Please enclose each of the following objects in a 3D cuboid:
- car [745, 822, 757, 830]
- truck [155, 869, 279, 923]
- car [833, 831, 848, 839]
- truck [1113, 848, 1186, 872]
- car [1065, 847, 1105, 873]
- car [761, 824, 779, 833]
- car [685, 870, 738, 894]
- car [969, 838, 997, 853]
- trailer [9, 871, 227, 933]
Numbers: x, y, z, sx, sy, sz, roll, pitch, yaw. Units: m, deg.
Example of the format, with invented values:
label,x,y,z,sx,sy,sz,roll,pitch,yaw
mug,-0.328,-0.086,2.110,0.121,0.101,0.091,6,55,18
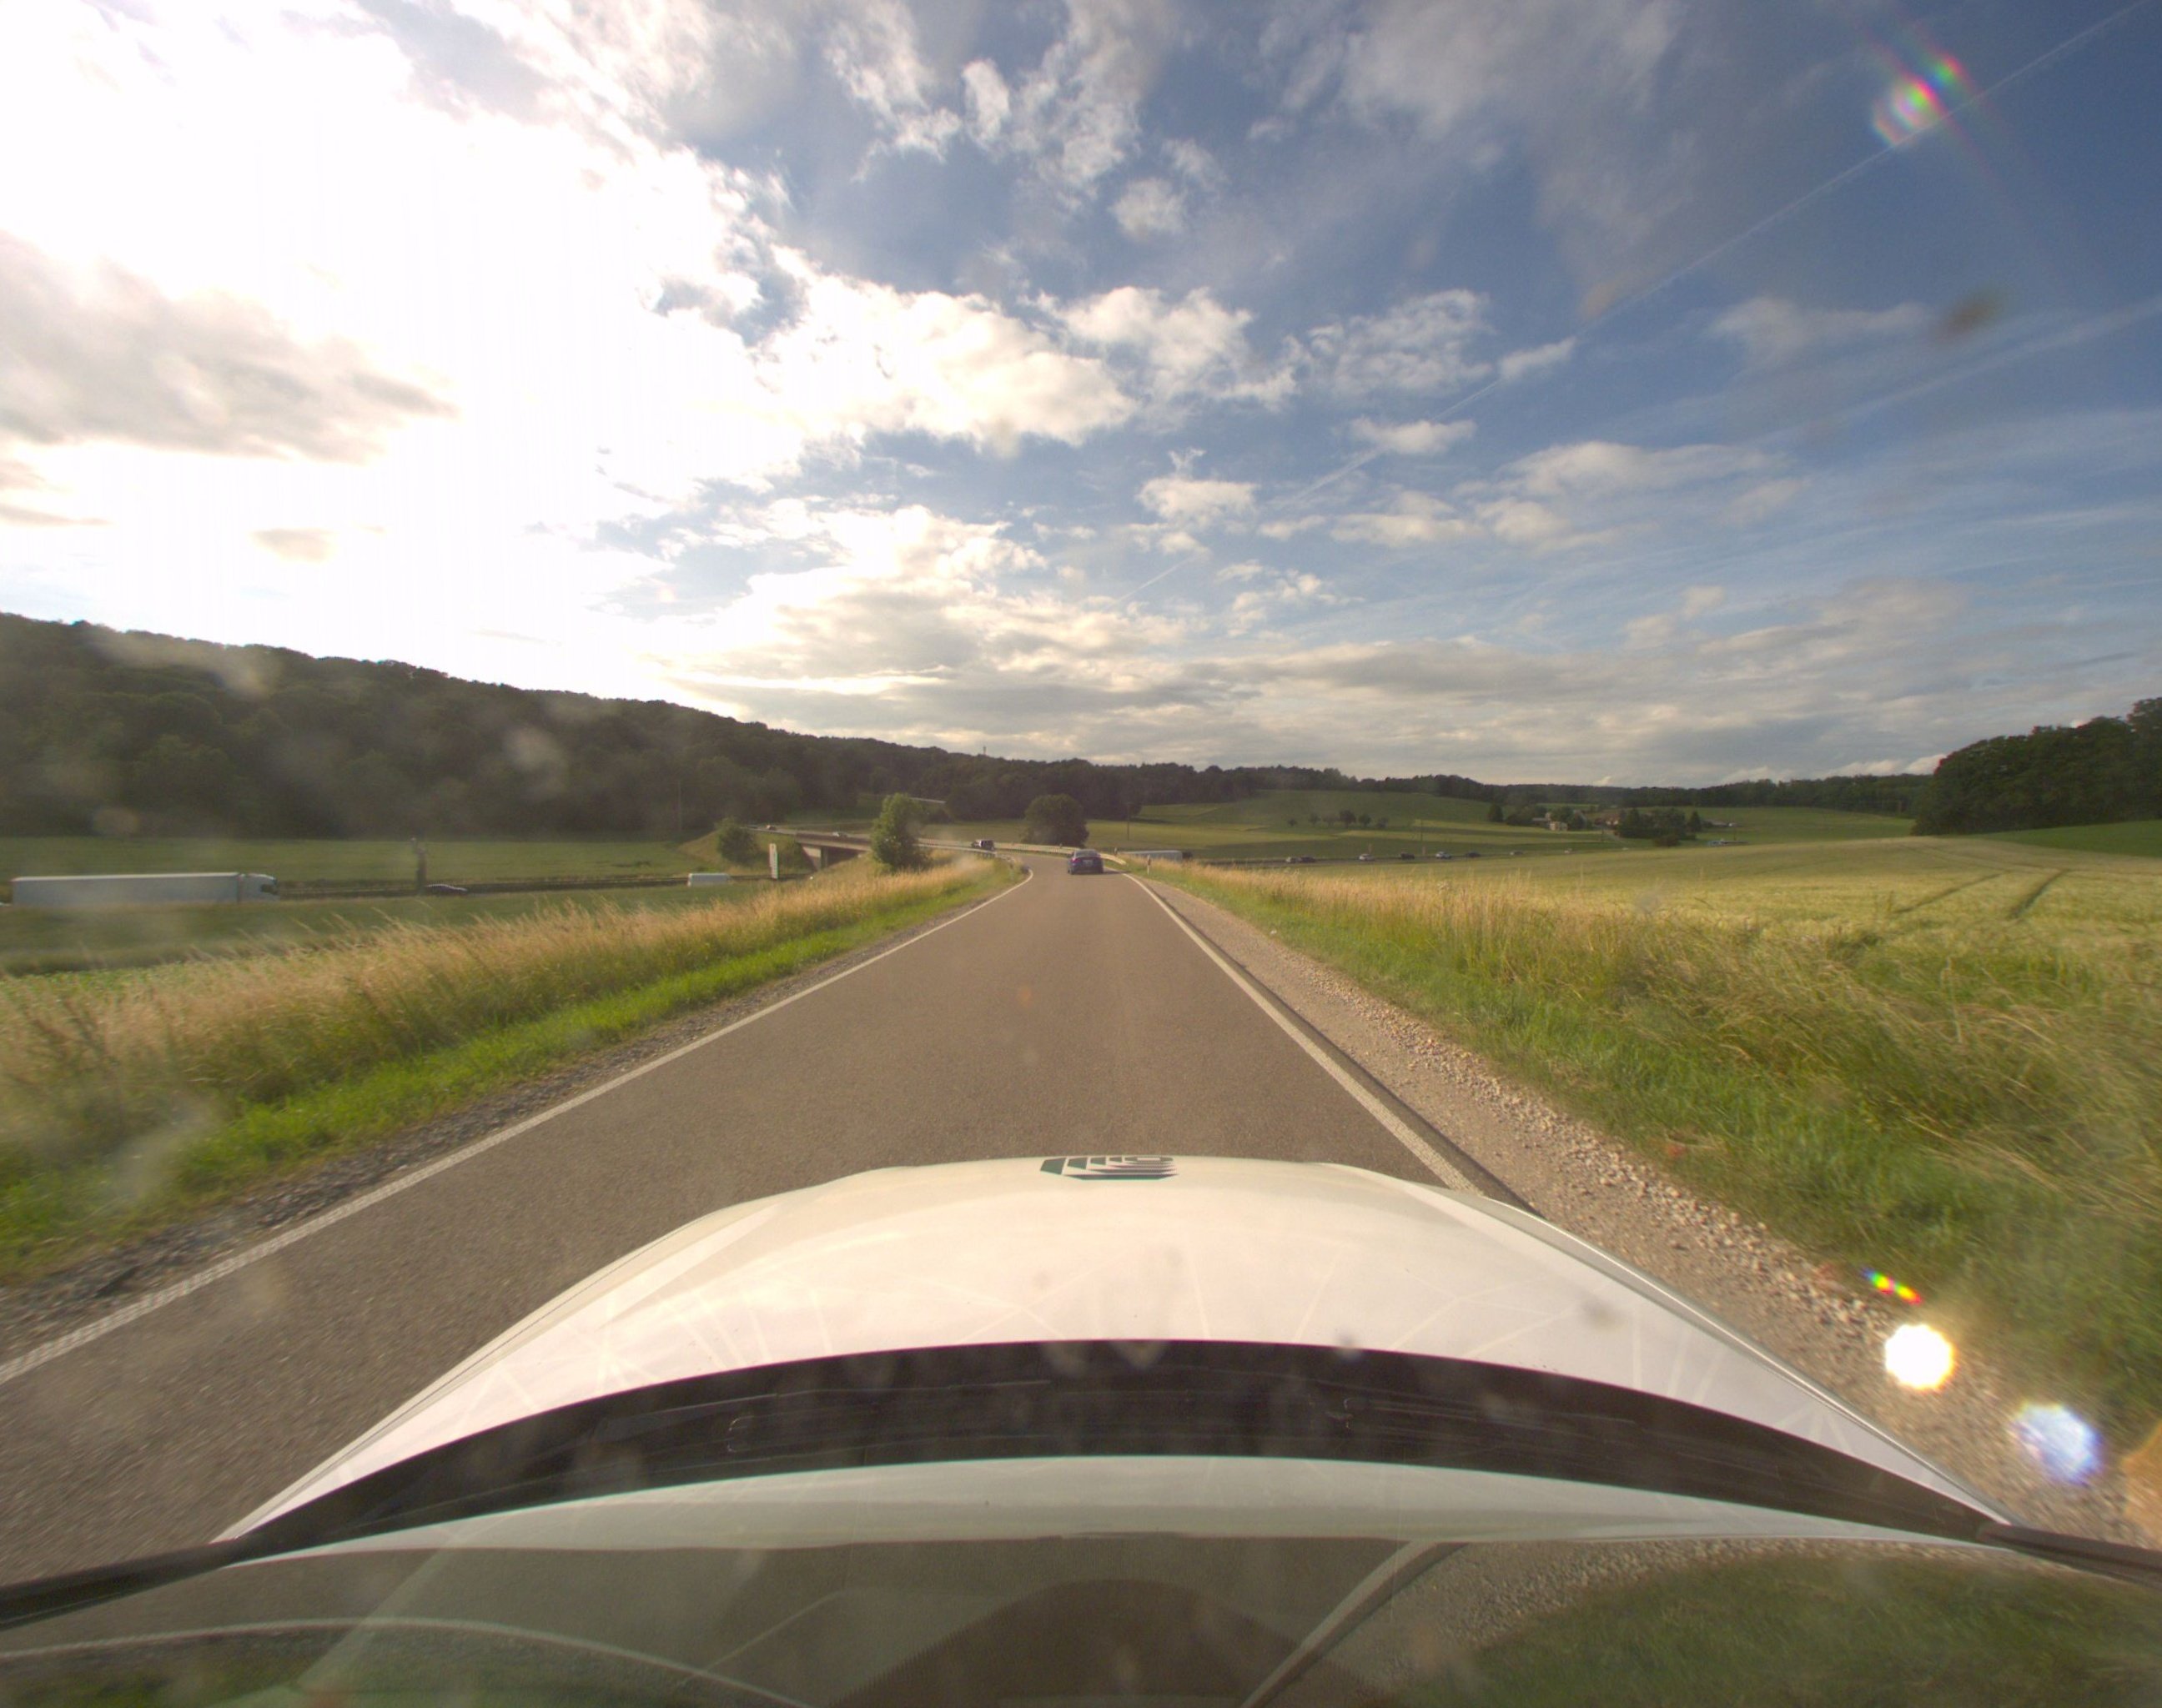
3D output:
label,x,y,z,sx,sy,sz,roll,pitch,yaw
car,-78.799,-6.697,194.381,2.007,1.771,3.962,-5,5,-31
truck,-85.607,4.029,81.003,8.102,4.465,2.994,-3,7,-43
car,-39.504,-3.063,133.828,1.481,1.227,3.266,-1,3,-33
truck,13.057,1.148,154.419,14.482,3.996,4.036,-2,0,-34
car,0.160,0.334,46.534,1.816,1.339,4.341,-2,0,-6
car,-64.191,-5.325,168.069,2.010,1.679,4.129,2,1,-41
car,-49.906,3.771,109.989,6.150,2.582,2.350,-3,8,-35
car,-10.626,-0.914,88.233,1.871,1.568,3.968,-2,2,-25
trailer,-90.097,4.298,76.849,12.800,4.465,2.997,-3,7,-43
